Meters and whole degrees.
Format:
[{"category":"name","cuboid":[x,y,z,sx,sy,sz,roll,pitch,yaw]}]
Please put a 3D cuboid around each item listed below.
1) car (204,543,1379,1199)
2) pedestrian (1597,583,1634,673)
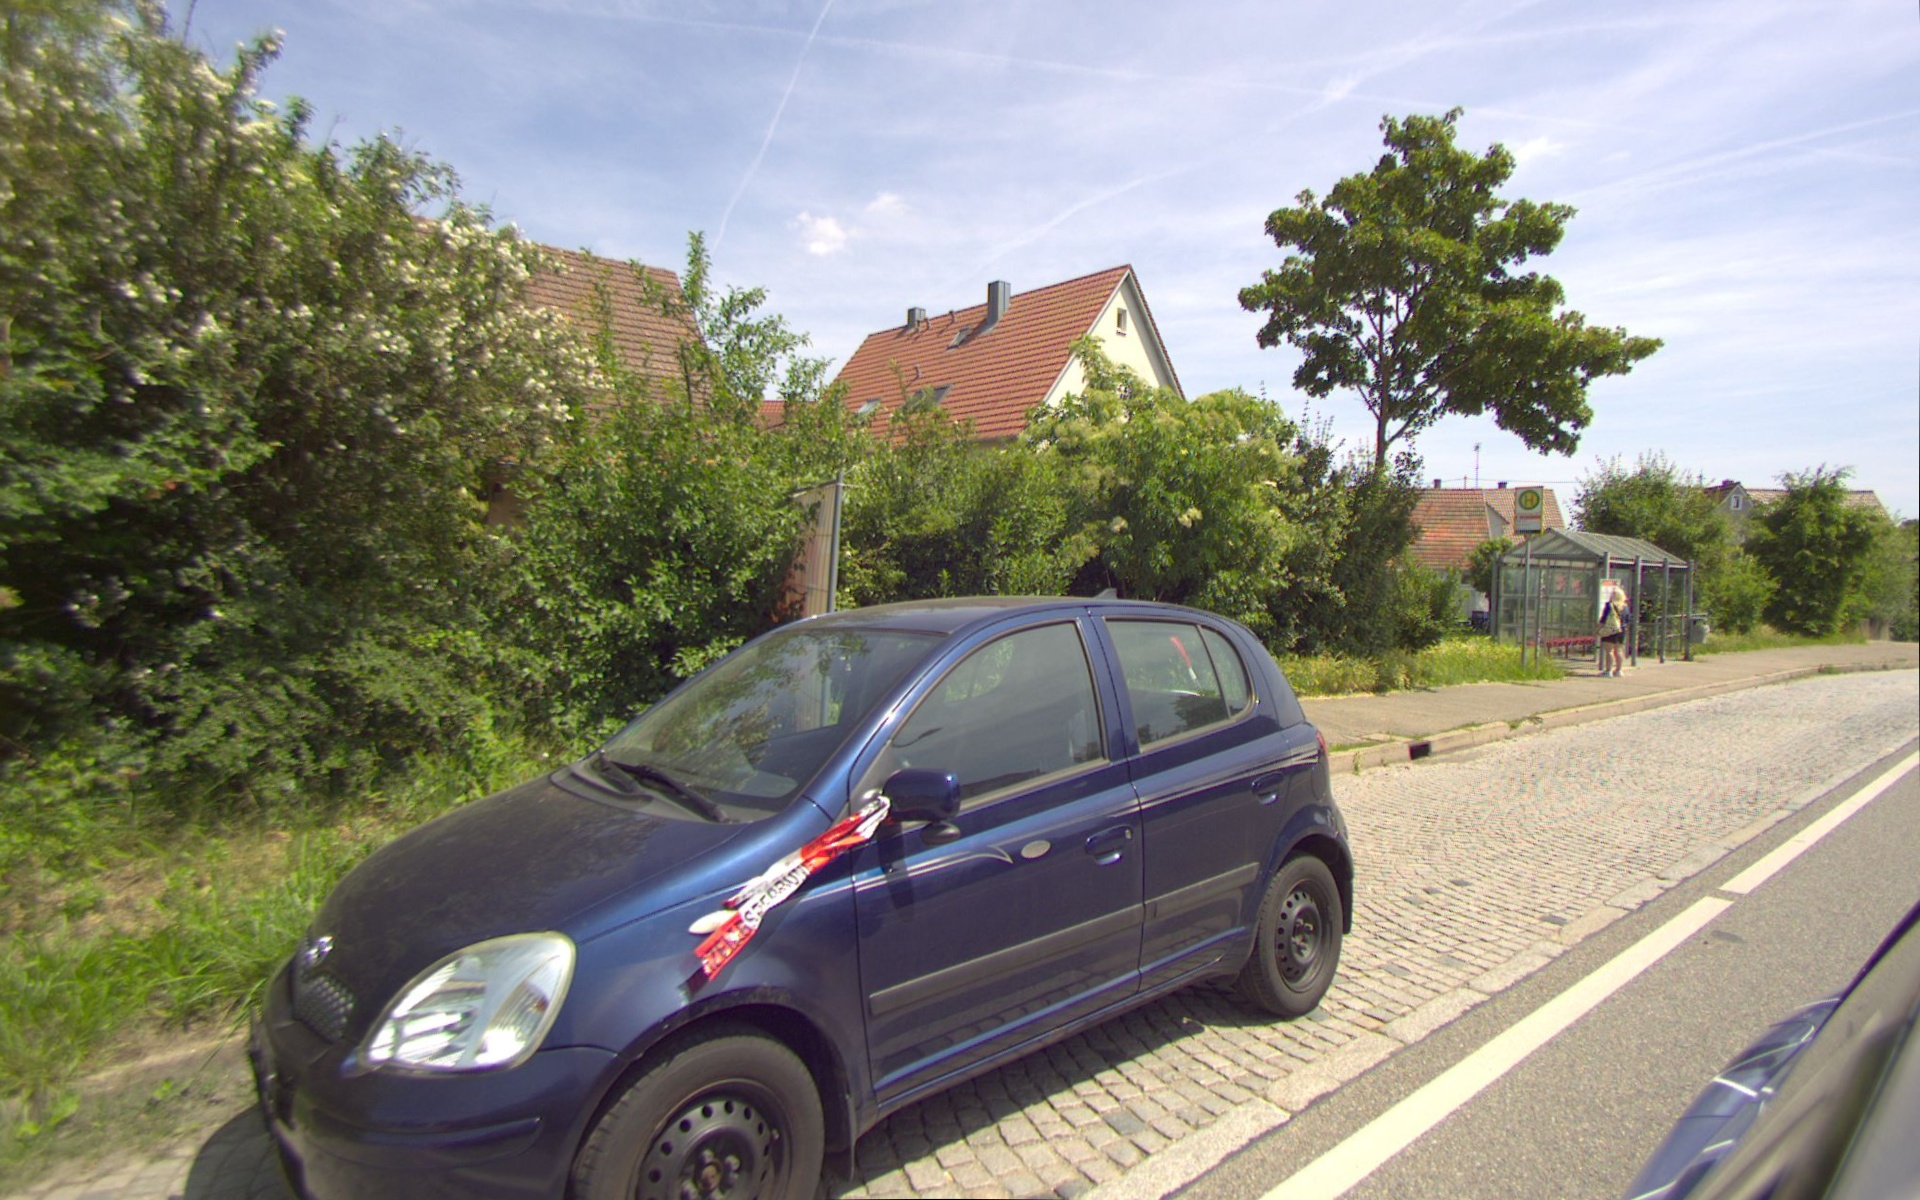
[{"category":"car","cuboid":[-0.242,0.690,3.340,3.490,1.504,1.634,1,-2,-41]},{"category":"pedestrian","cuboid":[11.636,0.477,17.977,0.518,1.568,0.556,1,1,32]}]
